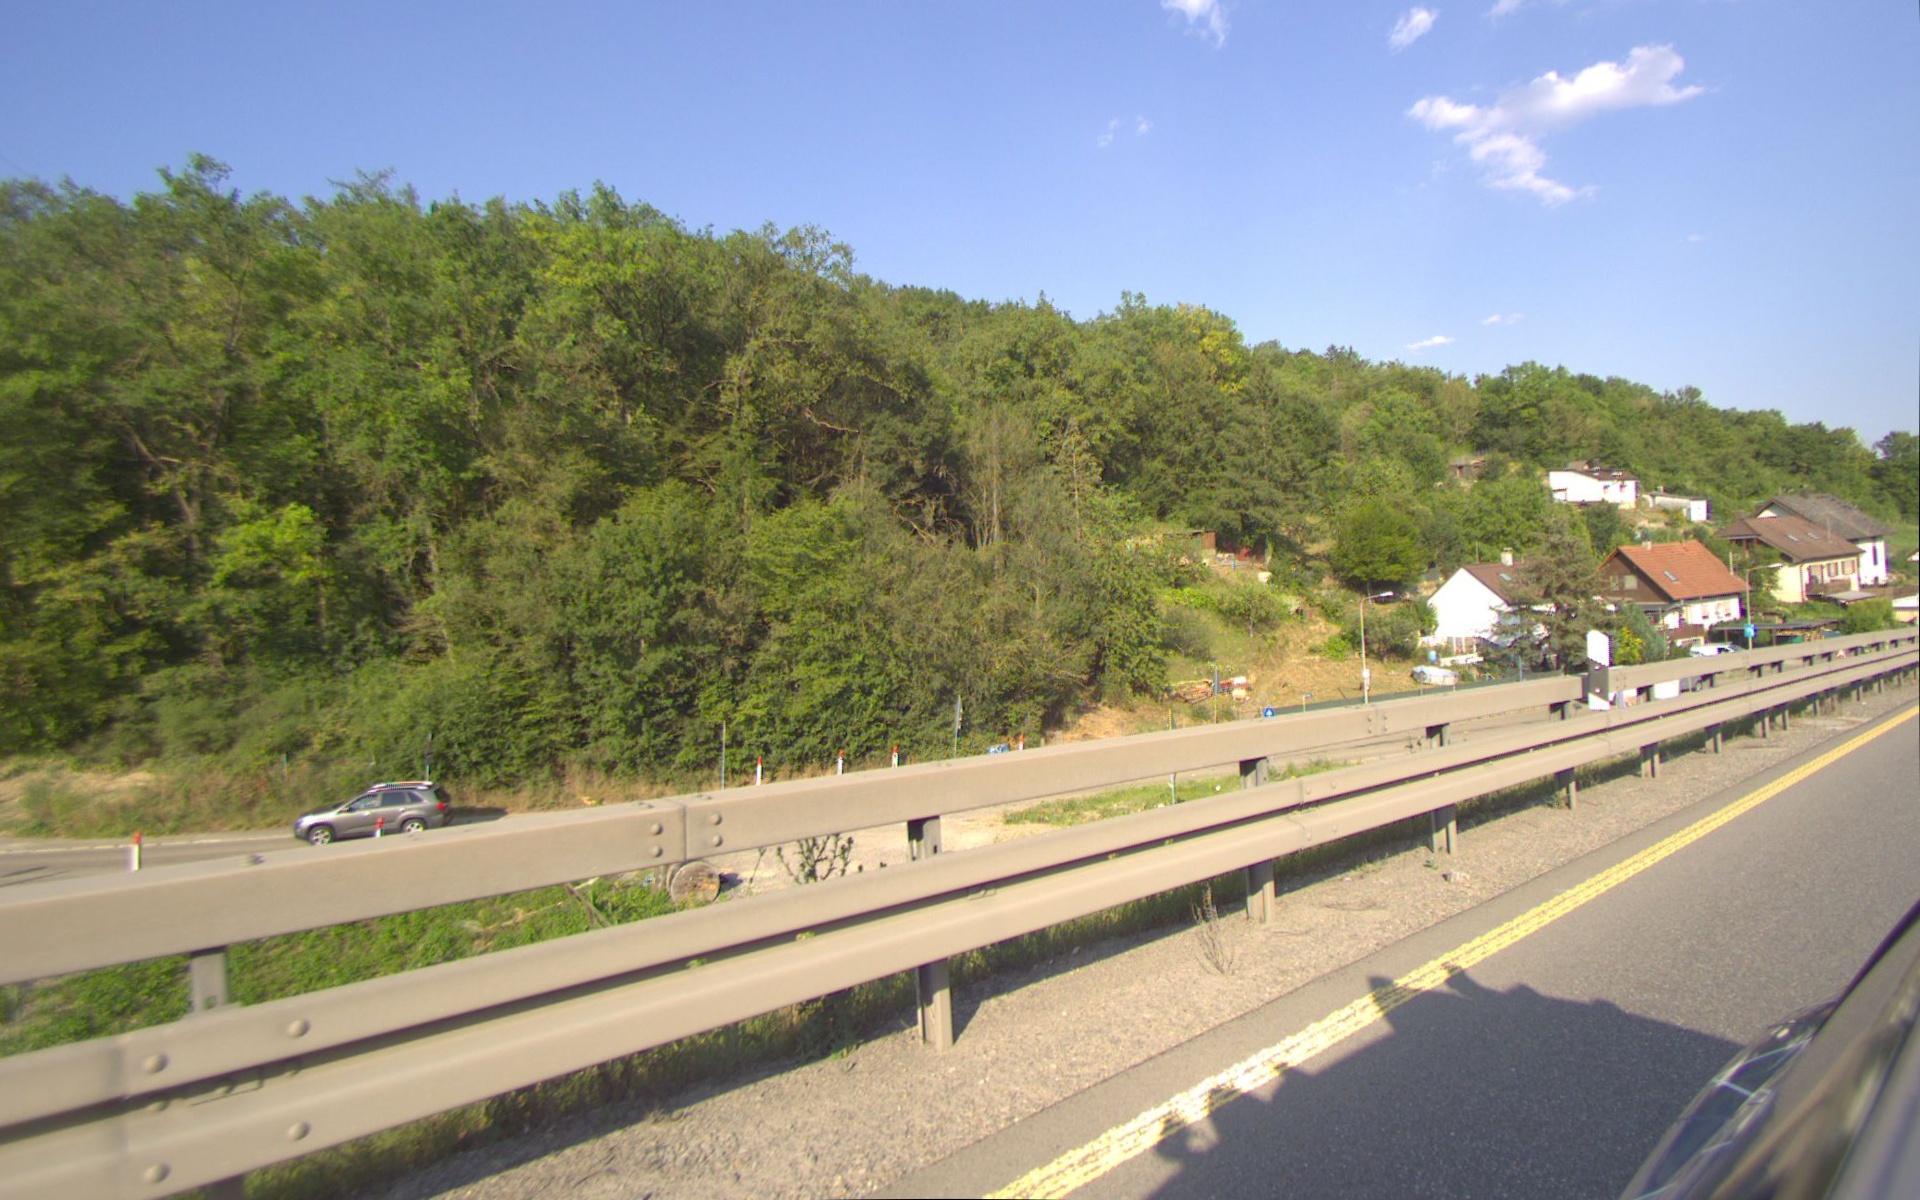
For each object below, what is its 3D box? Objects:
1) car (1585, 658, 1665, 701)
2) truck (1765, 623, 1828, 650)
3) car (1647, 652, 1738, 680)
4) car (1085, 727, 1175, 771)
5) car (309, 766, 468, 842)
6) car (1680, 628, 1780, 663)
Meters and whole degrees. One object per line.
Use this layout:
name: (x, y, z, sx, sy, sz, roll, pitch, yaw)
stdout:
car: (40.262, 4.784, 61.254, 4.951, 2.010, 1.871, -3, 3, -28)
truck: (65.462, 2.821, 79.294, 1.969, 1.760, 3.986, -7, -2, 11)
car: (53.127, 4.779, 73.546, 1.681, 1.576, 5.113, -3, 1, -28)
car: (7.549, 6.600, 45.064, 3.541, 1.619, 1.776, 0, -3, -23)
car: (-18.932, 6.744, 33.750, 4.404, 1.807, 1.872, 0, 0, -23)
car: (56.694, 3.285, 74.630, 1.960, 2.292, 5.490, -3, 1, -28)
